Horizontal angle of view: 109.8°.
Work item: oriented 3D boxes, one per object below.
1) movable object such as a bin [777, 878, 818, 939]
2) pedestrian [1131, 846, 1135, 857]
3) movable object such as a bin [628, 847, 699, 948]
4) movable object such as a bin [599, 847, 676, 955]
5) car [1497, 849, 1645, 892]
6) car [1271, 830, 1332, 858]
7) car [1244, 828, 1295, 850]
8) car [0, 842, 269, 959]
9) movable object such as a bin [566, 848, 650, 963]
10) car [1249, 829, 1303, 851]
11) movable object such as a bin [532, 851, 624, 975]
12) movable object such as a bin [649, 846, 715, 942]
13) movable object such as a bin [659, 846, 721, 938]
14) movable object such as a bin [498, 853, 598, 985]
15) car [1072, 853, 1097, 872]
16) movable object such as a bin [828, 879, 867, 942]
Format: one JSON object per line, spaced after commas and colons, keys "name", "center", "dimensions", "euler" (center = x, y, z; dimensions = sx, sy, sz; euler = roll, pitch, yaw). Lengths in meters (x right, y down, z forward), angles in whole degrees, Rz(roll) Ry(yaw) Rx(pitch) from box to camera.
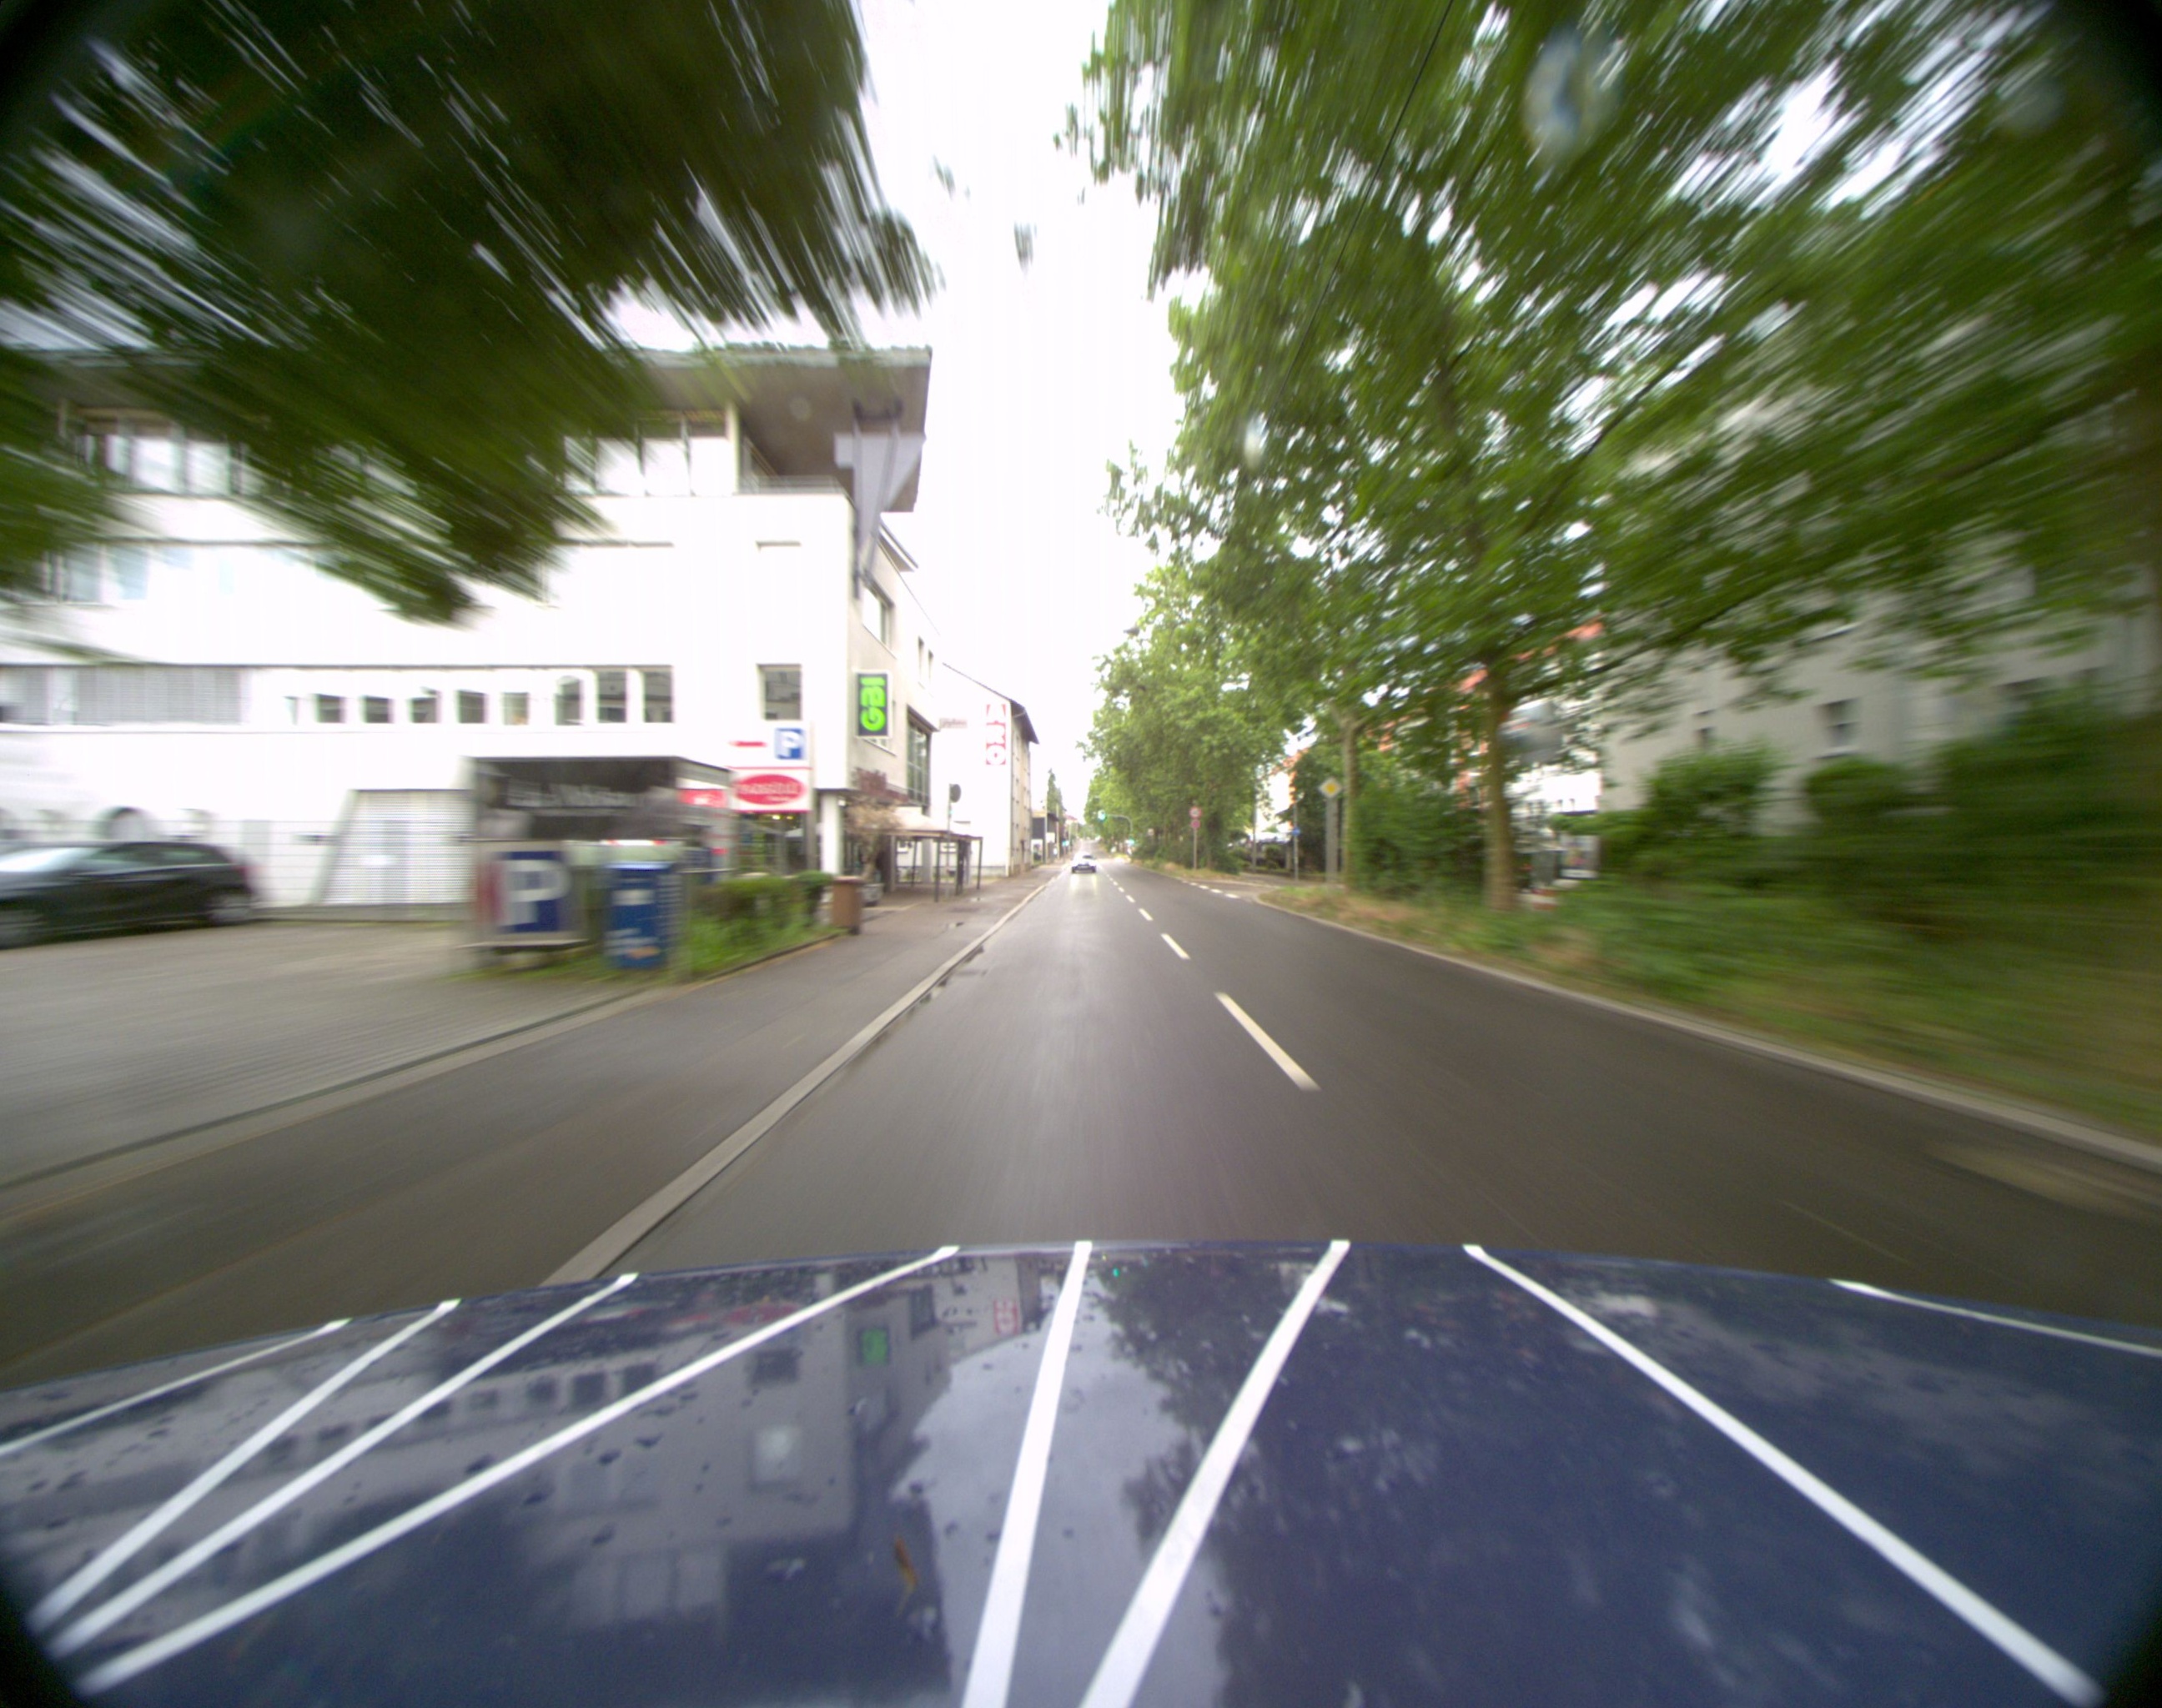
{"name": "movable object such as a bin", "center": [-5.304, 1.011, 14.233], "dimensions": [0.532, 1.109, 0.561], "euler": [0, 1, 3]}
{"name": "pedestrian", "center": [7.390, -0.361, 107.842], "dimensions": [0.648, 1.675, 0.631], "euler": [0, 1, 0]}
{"name": "movable object such as a bin", "center": [-6.332, 0.646, 11.550], "dimensions": [0.739, 1.499, 0.625], "euler": [0, 1, -3]}
{"name": "movable object such as a bin", "center": [-6.341, 0.650, 10.884], "dimensions": [0.739, 1.499, 0.625], "euler": [0, 1, -3]}
{"name": "car", "center": [17.399, 0.569, 27.152], "dimensions": [3.995, 1.468, 1.908], "euler": [-1, 1, 7]}
{"name": "car", "center": [16.031, -0.739, 55.345], "dimensions": [3.995, 2.002, 1.957], "euler": [0, 1, 6]}
{"name": "car", "center": [16.086, -1.303, 64.877], "dimensions": [3.802, 1.679, 1.738], "euler": [-2, 1, -2]}
{"name": "car", "center": [-14.737, 0.582, 10.908], "dimensions": [1.668, 1.478, 4.132], "euler": [0, 1, 1]}
{"name": "movable object such as a bin", "center": [-6.335, 0.674, 10.205], "dimensions": [0.739, 1.499, 0.625], "euler": [0, 1, -3]}
{"name": "car", "center": [15.949, -1.163, 62.325], "dimensions": [3.997, 1.784, 1.959], "euler": [0, 1, 1]}
{"name": "movable object such as a bin", "center": [-6.296, 0.721, 9.538], "dimensions": [0.739, 1.499, 0.625], "euler": [0, 1, -3]}
{"name": "movable object such as a bin", "center": [-6.390, 0.628, 12.206], "dimensions": [0.739, 1.499, 0.625], "euler": [0, 1, -3]}
{"name": "movable object such as a bin", "center": [-6.592, 0.627, 12.841], "dimensions": [0.739, 1.499, 0.625], "euler": [0, 1, -3]}
{"name": "movable object such as a bin", "center": [-6.230, 0.733, 8.914], "dimensions": [0.739, 1.492, 0.625], "euler": [0, 1, -3]}
{"name": "car", "center": [0.222, 0.597, 56.755], "dimensions": [1.692, 1.334, 3.999], "euler": [0, 1, -2]}
{"name": "movable object such as a bin", "center": [-4.265, 1.025, 13.917], "dimensions": [0.506, 1.109, 0.618], "euler": [0, 1, 1]}
